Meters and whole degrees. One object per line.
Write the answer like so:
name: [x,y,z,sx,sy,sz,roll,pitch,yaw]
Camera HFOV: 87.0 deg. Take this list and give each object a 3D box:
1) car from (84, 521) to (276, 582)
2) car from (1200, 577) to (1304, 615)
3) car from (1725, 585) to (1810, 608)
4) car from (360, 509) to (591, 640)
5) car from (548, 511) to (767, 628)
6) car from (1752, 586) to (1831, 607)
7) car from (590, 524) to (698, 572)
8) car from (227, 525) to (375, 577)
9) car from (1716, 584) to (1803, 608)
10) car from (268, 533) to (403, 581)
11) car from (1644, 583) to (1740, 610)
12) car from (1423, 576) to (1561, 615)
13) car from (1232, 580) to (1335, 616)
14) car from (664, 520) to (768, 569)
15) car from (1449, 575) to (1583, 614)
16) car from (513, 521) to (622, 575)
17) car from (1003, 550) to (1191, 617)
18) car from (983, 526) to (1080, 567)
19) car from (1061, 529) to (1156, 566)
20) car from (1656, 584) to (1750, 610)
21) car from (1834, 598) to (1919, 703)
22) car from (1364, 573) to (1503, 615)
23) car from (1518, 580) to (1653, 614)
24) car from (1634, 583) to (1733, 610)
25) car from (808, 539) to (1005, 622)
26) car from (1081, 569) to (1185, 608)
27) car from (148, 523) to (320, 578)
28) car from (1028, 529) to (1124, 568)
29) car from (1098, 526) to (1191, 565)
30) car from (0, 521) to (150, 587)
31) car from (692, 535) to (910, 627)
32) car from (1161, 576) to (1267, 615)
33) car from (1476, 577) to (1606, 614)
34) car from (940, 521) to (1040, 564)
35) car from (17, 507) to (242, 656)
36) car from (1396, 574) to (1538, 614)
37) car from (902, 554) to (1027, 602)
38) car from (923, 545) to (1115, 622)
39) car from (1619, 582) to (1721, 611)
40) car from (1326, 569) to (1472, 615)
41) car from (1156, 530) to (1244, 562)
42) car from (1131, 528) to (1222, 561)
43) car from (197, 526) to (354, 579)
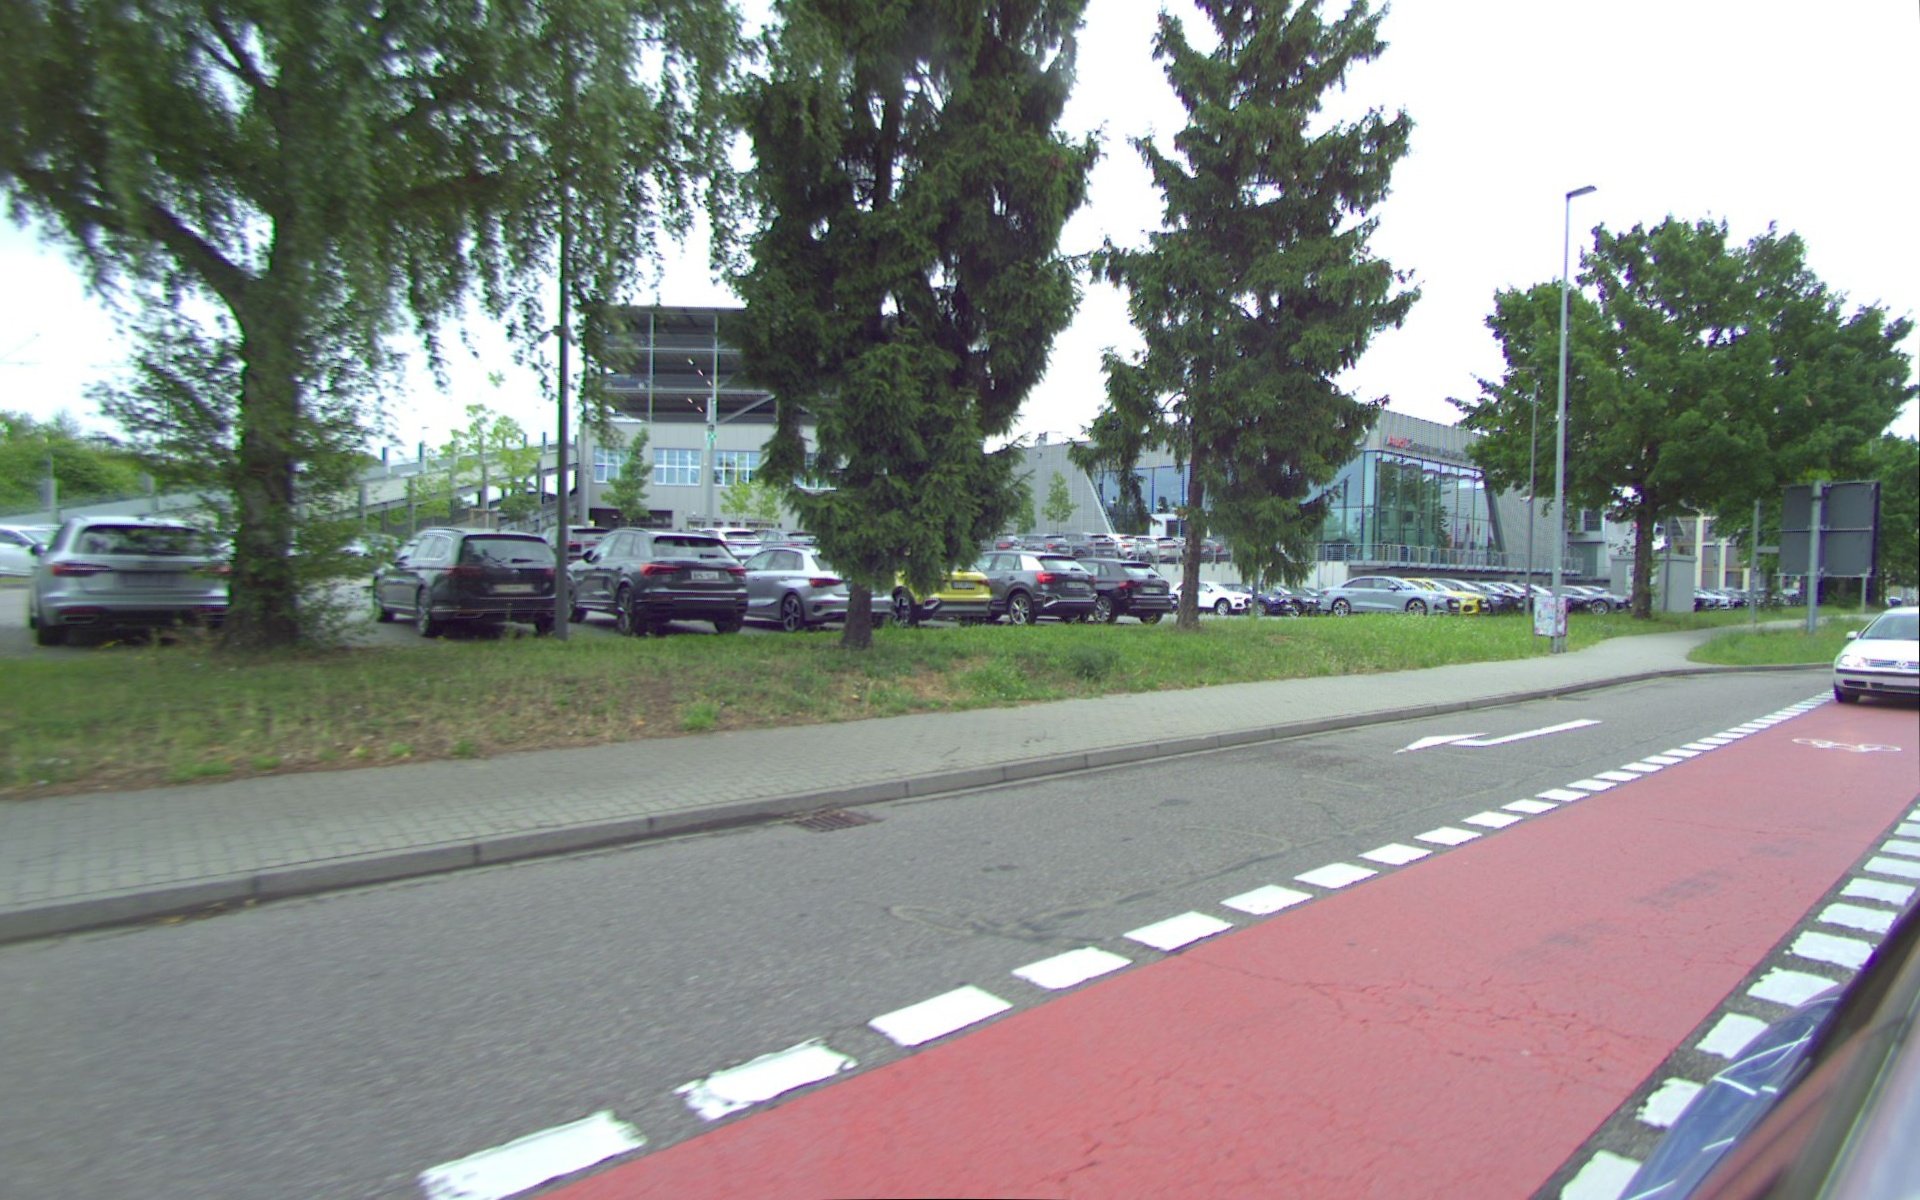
car: [-23.653,-1.460,30.832,4.225,1.712,1.971,-1,-1,-5]
car: [13.310,-0.146,46.333,1.868,1.621,4.305,0,-1,-40]
car: [52.293,-0.221,65.564,1.697,1.410,4.038,0,-1,-40]
car: [-7.171,-0.290,14.756,1.935,1.621,4.303,0,-1,-42]
car: [-4.996,-0.396,16.328,1.934,1.621,4.306,0,-1,-39]
car: [58.348,-0.239,71.060,1.697,1.410,4.038,0,-1,-40]
car: [-10.430,-1.657,33.256,1.801,1.306,4.303,0,-1,-42]
car: [-24.750,-1.827,38.138,4.225,1.828,1.971,-1,-1,-5]
car: [50.414,-0.220,63.855,1.697,1.410,4.038,0,-1,-40]
car: [-25.199,-1.723,40.940,4.225,1.828,1.971,-1,-1,-5]
car: [40.477,-0.167,56.028,1.697,1.410,4.038,0,-1,-40]
car: [20.232,-0.147,38.606,1.806,1.396,4.305,0,-1,-40]
car: [15.294,-0.070,48.004,1.868,1.621,4.305,0,-1,-40]
car: [-8.484,-1.868,34.927,1.670,1.400,4.303,0,-1,-42]
car: [22.087,-0.174,40.319,1.811,1.463,4.305,0,-1,-40]
car: [-12.305,-1.561,31.587,1.801,1.391,4.303,0,-1,-42]
car: [2.993,-0.305,22.767,1.868,1.371,4.000,0,-1,-39]
car: [3.122,-2.322,44.908,1.801,1.545,4.303,0,-1,-42]
car: [6.982,-2.437,48.003,1.833,1.451,4.303,0,-1,-42]
car: [42.197,-0.168,57.557,1.697,1.410,4.038,0,-1,-40]
car: [14.836,0.708,15.146,3.865,1.442,1.728,0,1,-34]
car: [16.534,-0.175,35.489,1.763,1.395,4.054,0,-1,-39]
car: [27.841,-0.100,45.159,1.868,1.442,4.760,0,-1,-40]
car: [38.730,-0.162,54.241,1.697,1.410,4.038,0,-1,-40]
car: [-1.123,-0.305,19.259,1.777,1.396,4.004,0,-1,-38]
car: [6.979,-0.439,41.167,1.868,1.478,3.913,0,-1,-40]
car: [-23.933,-1.629,33.515,4.225,1.682,1.971,-1,-1,-5]
car: [5.262,-2.306,46.317,1.801,1.531,4.303,0,-1,-42]
car: [9.011,-2.621,49.675,1.861,1.612,4.307,0,-1,-38]
car: [-23.891,-1.149,25.916,4.579,1.587,1.907,0,-1,-8]
car: [-2.894,-0.263,17.659,1.868,1.400,4.306,0,-1,-39]
car: [11.167,-0.231,44.714,1.868,1.621,4.306,0,1,-40]
car: [23.984,-0.156,41.912,1.811,1.463,4.305,0,-1,-40]
car: [1.221,-2.392,43.032,1.827,1.546,4.303,0,-1,-42]
car: [-10.274,-0.232,12.395,4.299,1.508,1.712,2,1,45]
car: [18.355,-0.181,36.792,1.708,1.375,4.305,0,-1,-40]
car: [0.092,-0.737,34.381,1.869,1.525,4.305,0,1,-41]
car: [1.149,-0.291,20.967,1.919,1.441,3.757,0,-1,-41]
car: [36.925,-0.149,52.696,1.697,1.410,4.038,0,-1,-40]
car: [14.665,-0.237,33.990,1.708,1.450,4.195,0,-1,-40]
car: [12.651,-2.819,53.565,1.801,1.381,4.303,0,-1,-42]
car: [10.944,-2.771,51.409,1.801,1.381,4.303,0,-1,-42]
car: [-24.258,-1.666,35.997,4.225,1.757,1.971,-1,-1,-5]
